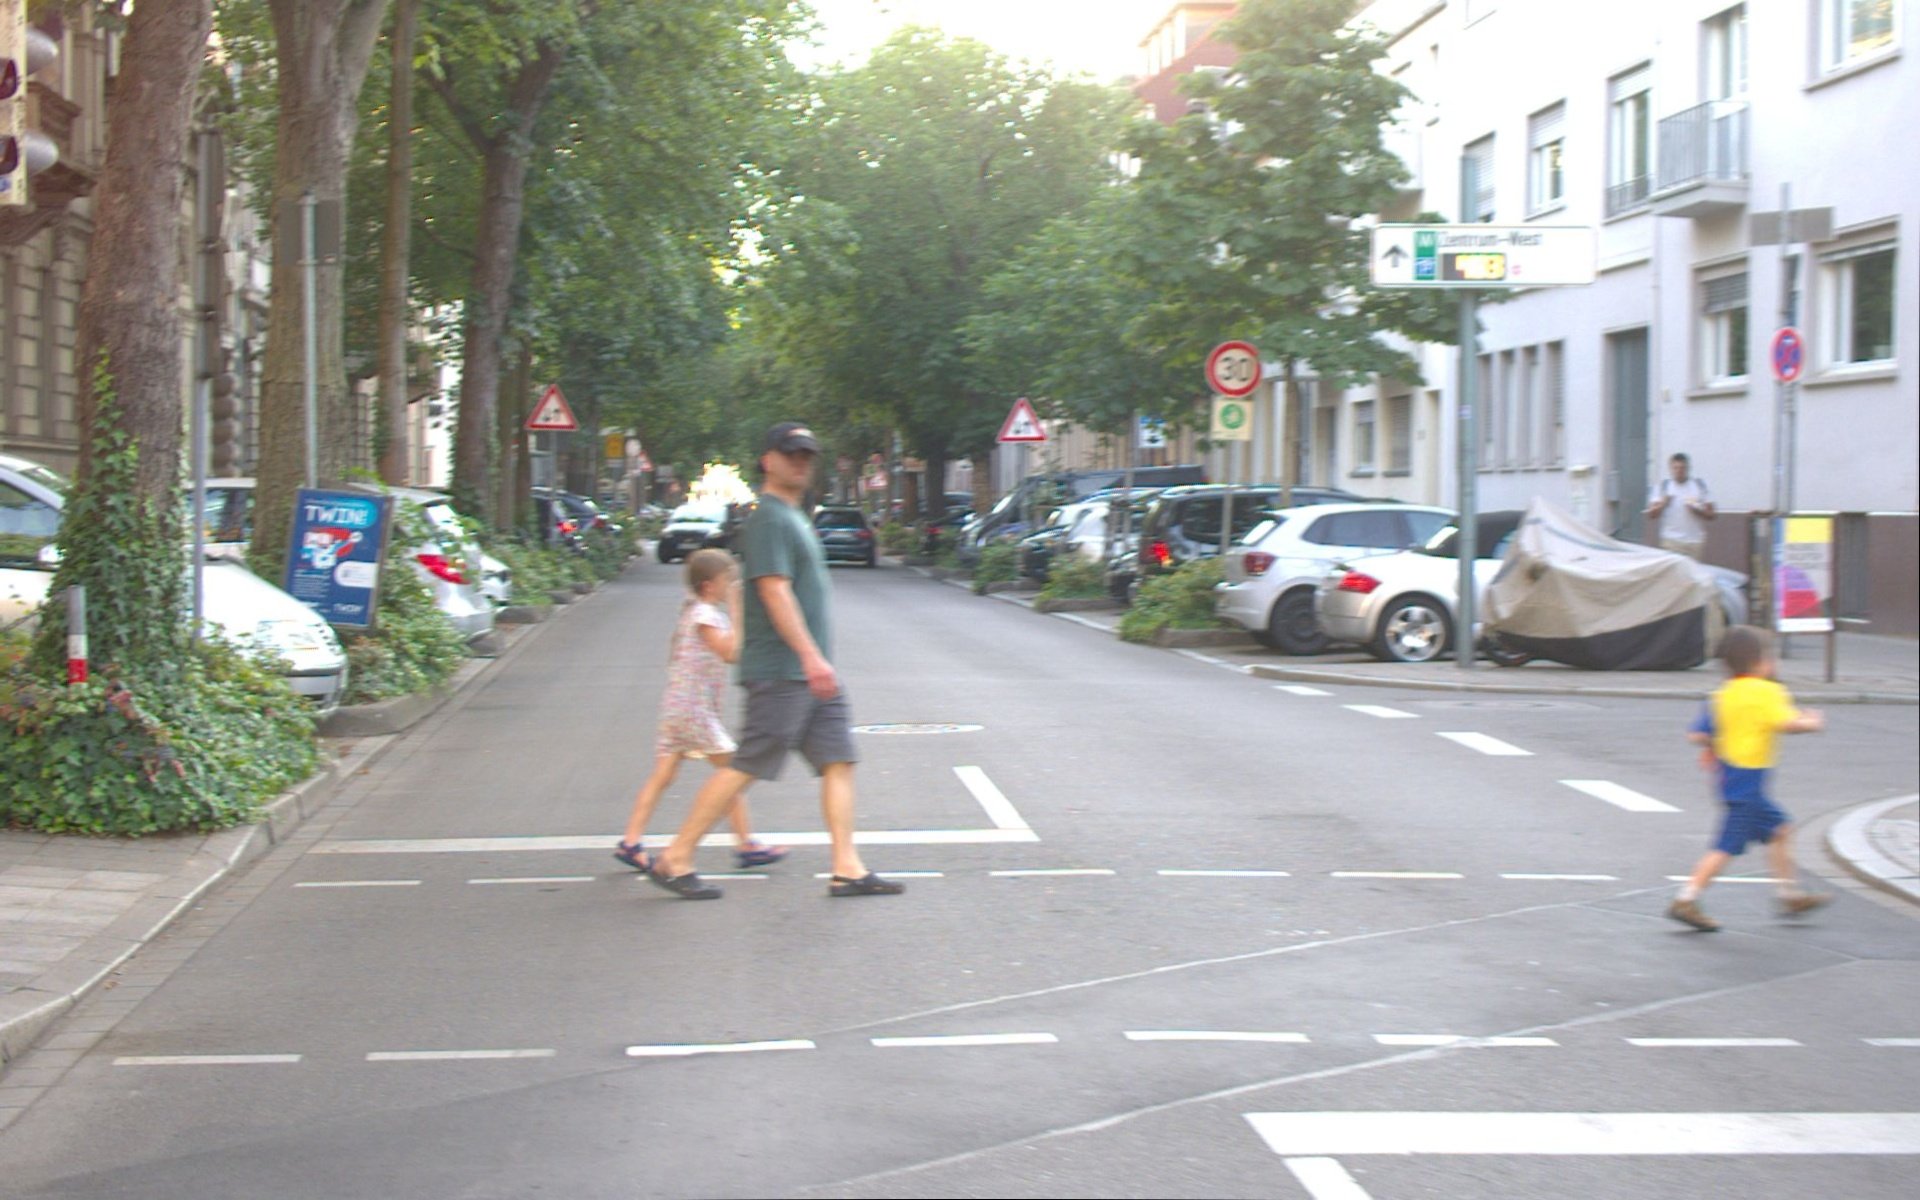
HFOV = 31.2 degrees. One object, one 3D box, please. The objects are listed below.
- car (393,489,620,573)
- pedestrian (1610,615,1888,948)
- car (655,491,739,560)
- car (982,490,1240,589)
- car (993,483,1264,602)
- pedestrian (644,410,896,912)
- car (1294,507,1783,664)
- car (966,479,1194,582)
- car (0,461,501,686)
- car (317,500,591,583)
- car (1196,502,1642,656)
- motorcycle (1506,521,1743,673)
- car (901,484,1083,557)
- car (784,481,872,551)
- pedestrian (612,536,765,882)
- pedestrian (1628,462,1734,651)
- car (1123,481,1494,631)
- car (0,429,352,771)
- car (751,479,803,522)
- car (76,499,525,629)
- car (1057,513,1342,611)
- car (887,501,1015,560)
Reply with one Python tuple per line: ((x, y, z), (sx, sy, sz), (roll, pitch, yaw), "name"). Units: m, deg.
((-9.419, -1.445, 71.650), (4.547, 1.686, 1.833), (1, 2, -3), "car")
((2.778, 0.629, 12.166), (0.834, 1.117, 0.567), (1, 2, 1), "pedestrian")
((-6.416, -1.822, 83.520), (1.903, 1.572, 3.992), (1, 1, -6), "car")
((2.438, -0.994, 55.989), (4.014, 1.524, 1.707), (1, 2, -4), "car")
((2.581, -0.901, 53.202), (4.014, 1.809, 1.707), (0, 2, -4), "car")
((-0.695, 0.208, 12.813), (0.888, 1.809, 0.794), (0, 2, 1), "pedestrian")
((5.109, -0.151, 30.674), (4.014, 1.338, 1.707), (0, 2, -3), "car")
((2.190, -1.283, 63.333), (4.014, 1.823, 1.707), (1, 2, -4), "car")
((-5.935, -0.225, 26.781), (4.547, 1.683, 1.833), (0, 2, -3), "car")
((-8.709, -1.025, 59.474), (4.547, 1.405, 1.833), (0, 2, -3), "car")
((4.394, -0.223, 33.266), (4.014, 1.437, 1.707), (0, 2, -4), "car")
((5.297, -0.033, 27.475), (1.800, 1.195, 0.613), (0, 2, 5), "motorcycle")
((0.706, -1.818, 78.257), (4.014, 1.596, 1.707), (1, 2, -4), "car")
((-3.127, -1.990, 80.785), (1.825, 1.556, 4.029), (2, 2, -5), "car")
((-1.071, 0.420, 13.642), (0.539, 1.331, 0.506), (1, 2, 1), "pedestrian")
((7.135, -0.441, 34.046), (0.767, 1.835, 0.944), (1, 2, -3), "pedestrian")
((3.969, -0.525, 39.534), (4.014, 1.684, 1.707), (0, 2, -4), "car")
((-5.763, -0.027, 19.228), (4.547, 1.828, 1.834), (0, 2, -6), "car")
((-7.206, -3.926, 135.140), (1.924, 1.654, 4.001), (0, 2, -4), "car")
((-7.035, -0.403, 37.023), (4.547, 1.367, 1.833), (0, 2, -3), "car")
((3.516, -0.581, 50.925), (4.014, 1.404, 1.707), (0, 2, -4), "car")
((-0.296, -2.241, 110.961), (4.014, 1.823, 1.707), (1, 2, -4), "car")
